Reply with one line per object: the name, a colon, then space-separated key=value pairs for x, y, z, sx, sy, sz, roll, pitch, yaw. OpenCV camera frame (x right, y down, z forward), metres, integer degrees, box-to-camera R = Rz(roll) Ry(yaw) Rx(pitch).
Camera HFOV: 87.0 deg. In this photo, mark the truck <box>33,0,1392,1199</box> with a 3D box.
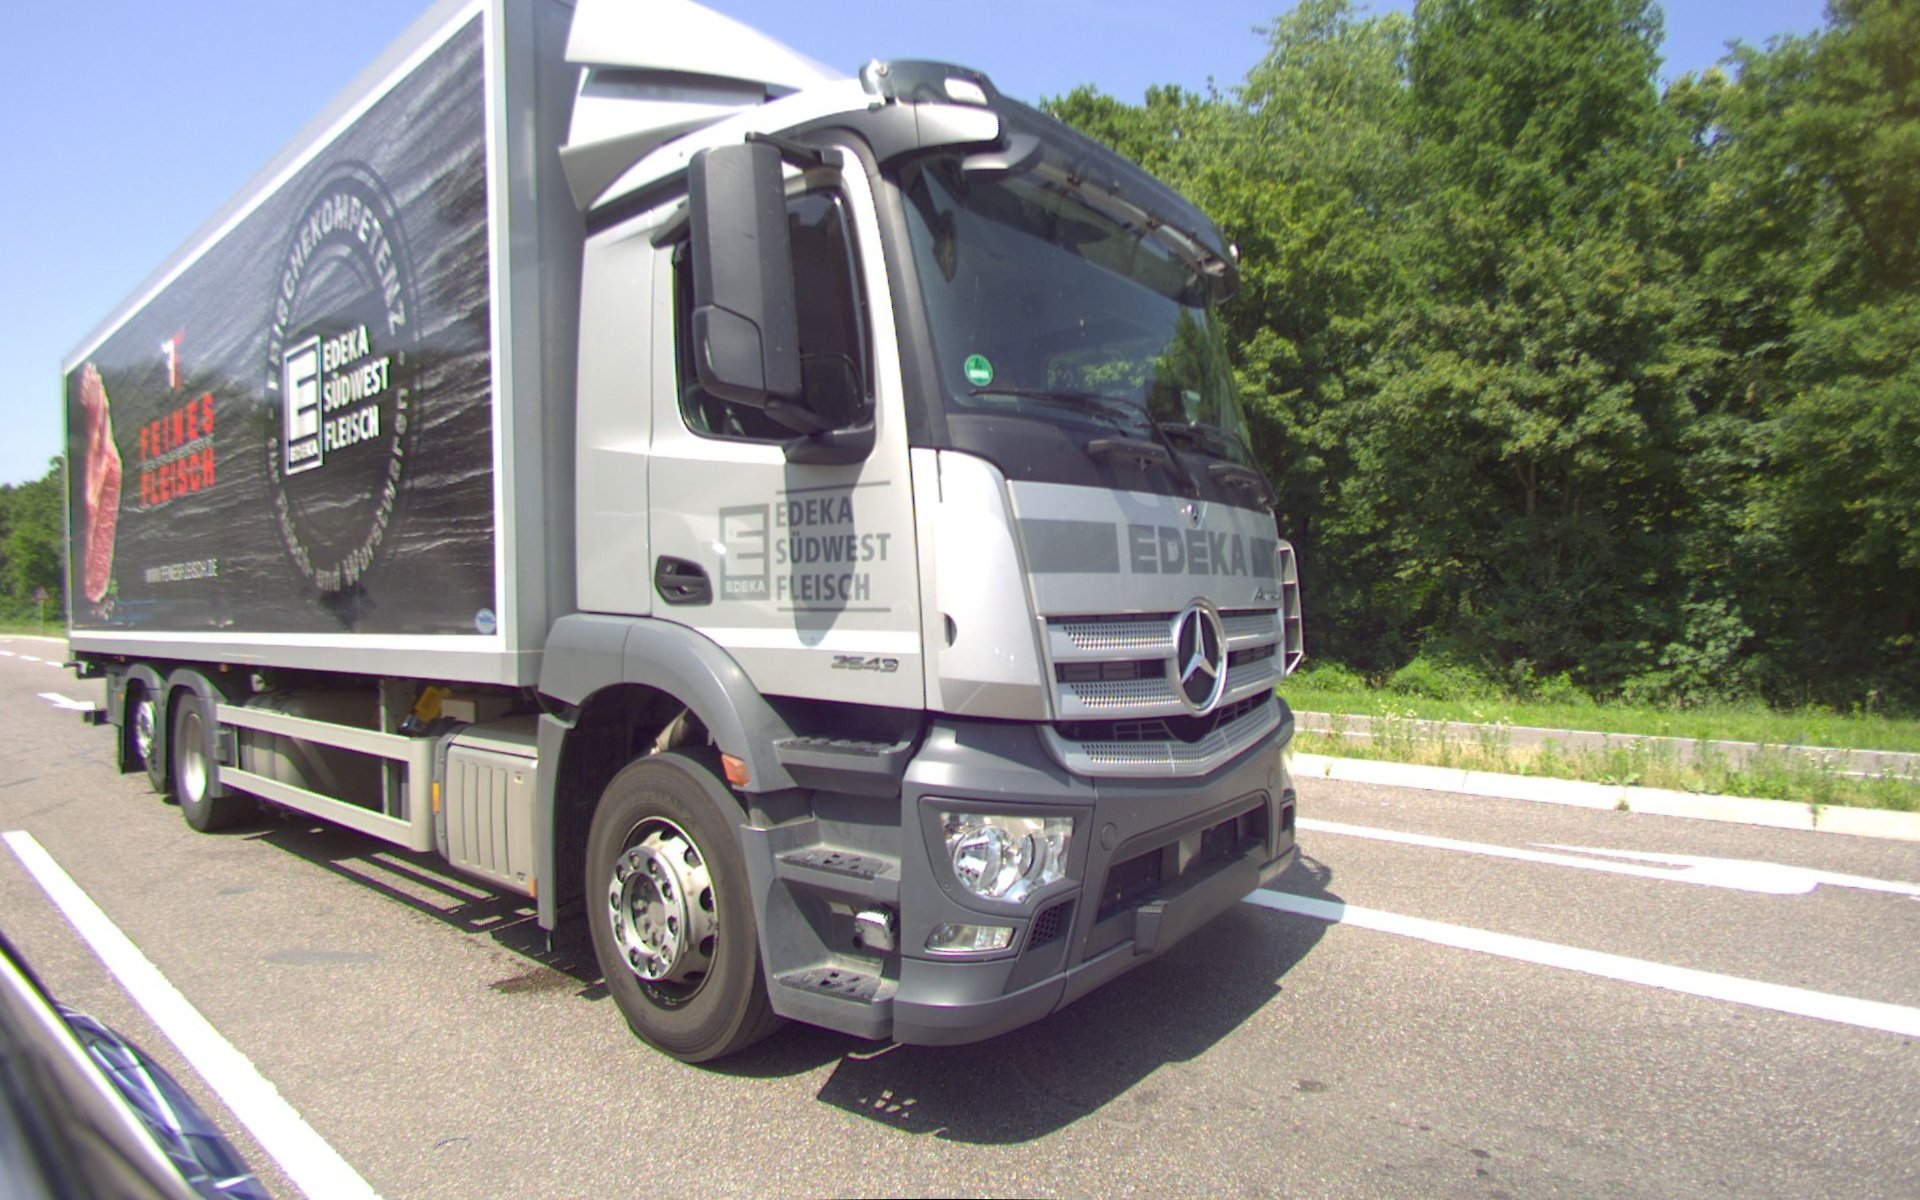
truck: x=-3.396 y=-0.534 z=6.853 sx=11.310 sy=3.914 sz=2.719 roll=-1 pitch=0 yaw=40
